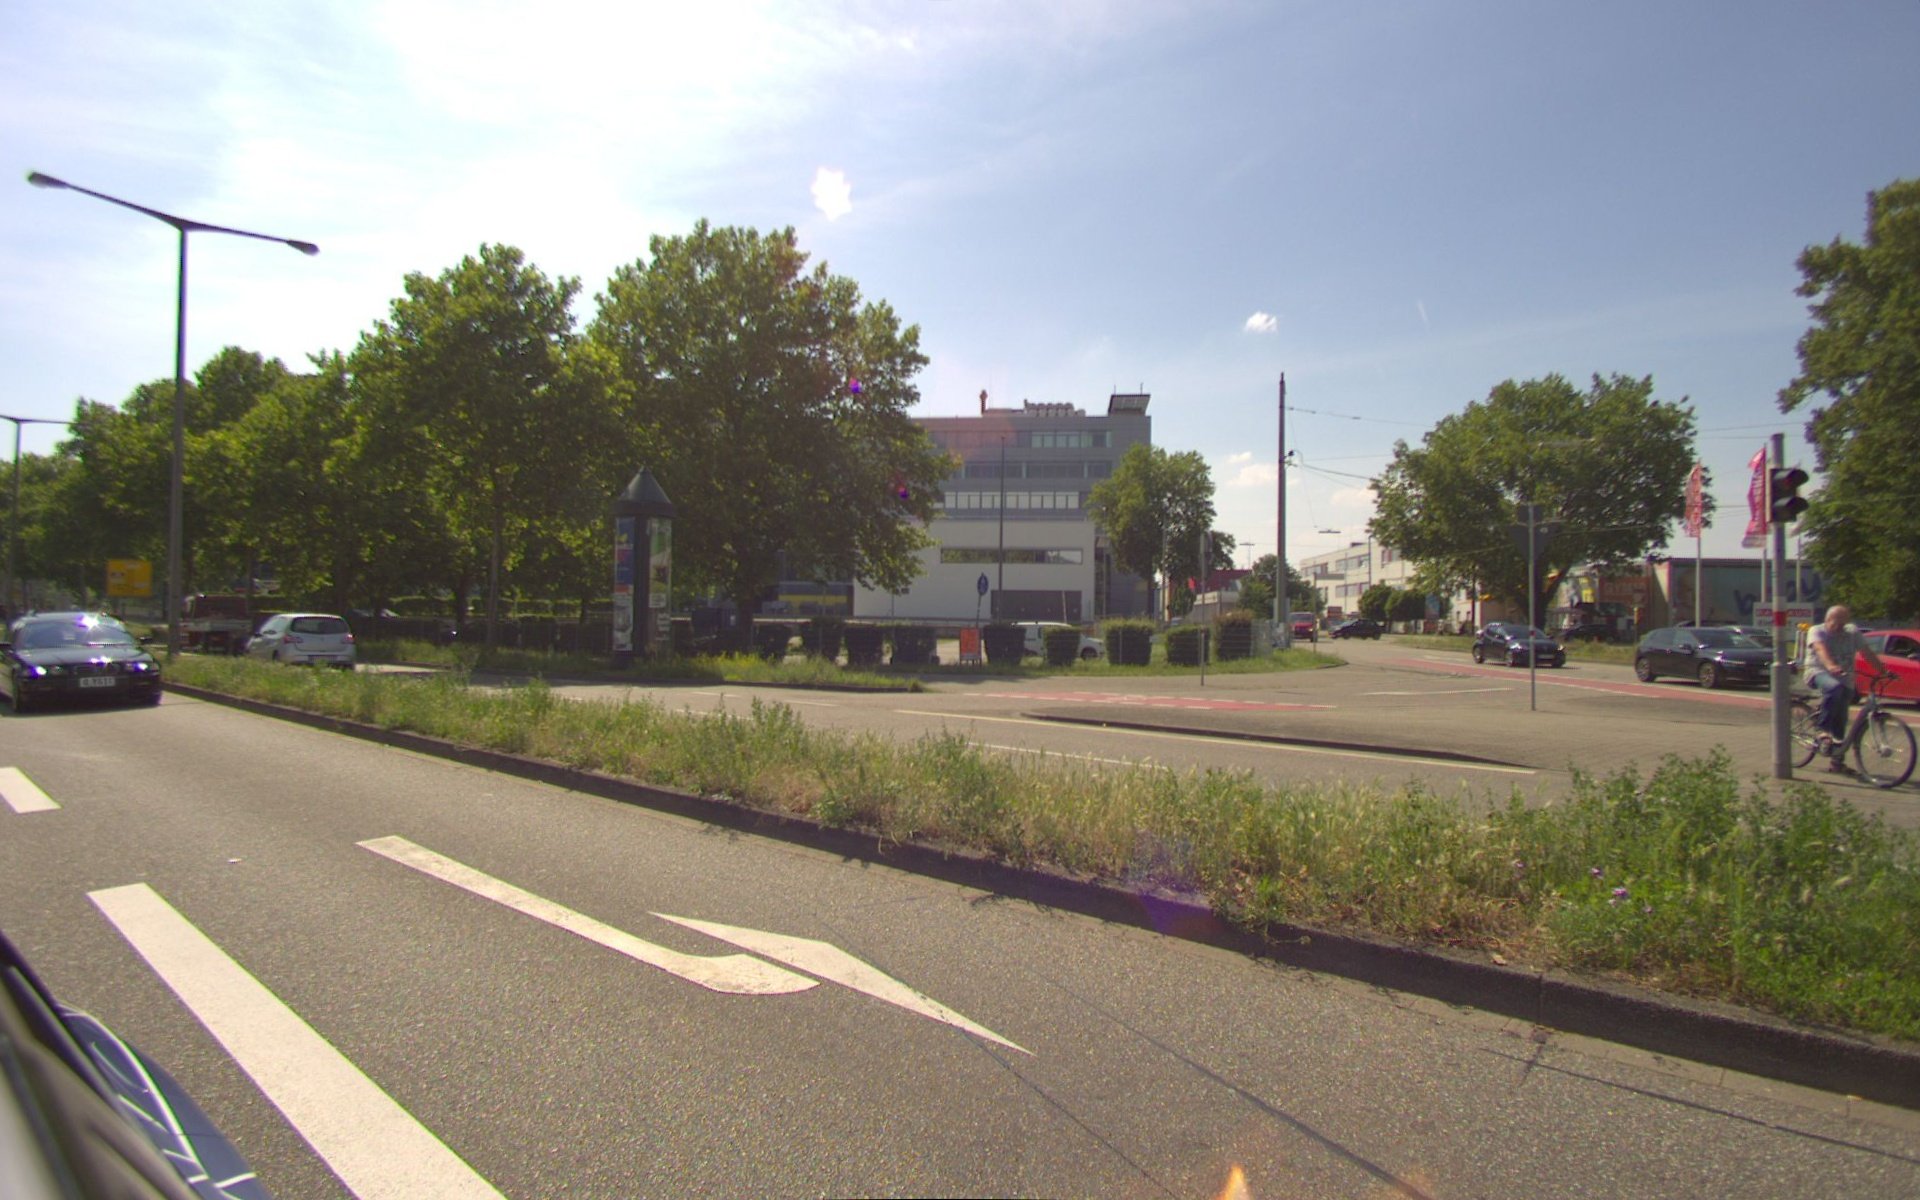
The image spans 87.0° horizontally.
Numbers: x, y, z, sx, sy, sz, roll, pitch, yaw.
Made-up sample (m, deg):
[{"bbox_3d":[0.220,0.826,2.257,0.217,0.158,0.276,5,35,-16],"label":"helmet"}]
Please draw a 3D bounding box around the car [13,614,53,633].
[{"bbox_3d":[-74.790,1.925,81.652,4.219,1.433,1.820,-1,-4,41],"label":"car"}]

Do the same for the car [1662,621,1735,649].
[{"bbox_3d":[54.613,2.568,74.908,3.974,2.029,1.985,0,-1,23],"label":"car"}]

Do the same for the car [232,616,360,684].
[{"bbox_3d":[-16.029,1.156,24.376,3.734,1.525,1.632,-1,-2,41],"label":"car"}]

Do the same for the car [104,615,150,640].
[{"bbox_3d":[-52.071,1.716,63.239,3.896,1.433,1.818,0,-3,45],"label":"car"}]

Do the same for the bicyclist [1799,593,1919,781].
[{"bbox_3d":[9.051,0.838,10.132,0.698,1.802,0.765,0,-1,12],"label":"bicyclist"}]

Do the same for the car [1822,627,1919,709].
[{"bbox_3d":[17.993,1.222,18.145,1.824,1.460,3.994,0,-1,5],"label":"car"}]

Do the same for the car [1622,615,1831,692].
[{"bbox_3d":[18.616,1.254,24.853,1.971,1.712,4.001,0,-1,-2],"label":"car"}]

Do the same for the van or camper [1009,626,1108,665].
[{"bbox_3d":[4.512,2.079,46.768,4.453,1.705,1.998,0,-1,4],"label":"van or camper"}]

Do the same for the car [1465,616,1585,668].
[{"bbox_3d":[19.941,1.465,35.941,1.972,1.712,4.000,0,-1,-1],"label":"car"}]

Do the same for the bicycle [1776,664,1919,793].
[{"bbox_3d":[9.038,1.214,10.040,0.520,1.072,2.157,0,-1,11],"label":"bicycle"}]

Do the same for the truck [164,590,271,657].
[{"bbox_3d":[-30.081,0.954,40.896,7.128,2.494,2.116,-1,-2,43],"label":"truck"}]

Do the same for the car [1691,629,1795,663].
[{"bbox_3d":[35.533,2.046,46.075,1.620,1.422,4.453,0,-1,7],"label":"car"}]

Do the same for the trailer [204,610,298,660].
[{"bbox_3d":[-26.003,1.241,37.073,3.991,1.729,2.039,-1,-2,43],"label":"trailer"}]

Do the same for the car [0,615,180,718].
[{"bbox_3d":[-13.698,0.950,16.043,1.702,1.372,4.079,0,0,-32],"label":"car"}]

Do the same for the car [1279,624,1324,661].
[{"bbox_3d":[22.236,2.743,66.149,2.129,2.295,5.023,0,-2,11],"label":"car"}]

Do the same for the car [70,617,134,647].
[{"bbox_3d":[-43.201,1.629,50.940,3.764,1.445,1.829,-2,-4,40],"label":"car"}]

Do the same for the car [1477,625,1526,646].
[{"bbox_3d":[37.976,2.471,71.108,1.679,1.438,3.853,0,-1,6],"label":"car"}]
